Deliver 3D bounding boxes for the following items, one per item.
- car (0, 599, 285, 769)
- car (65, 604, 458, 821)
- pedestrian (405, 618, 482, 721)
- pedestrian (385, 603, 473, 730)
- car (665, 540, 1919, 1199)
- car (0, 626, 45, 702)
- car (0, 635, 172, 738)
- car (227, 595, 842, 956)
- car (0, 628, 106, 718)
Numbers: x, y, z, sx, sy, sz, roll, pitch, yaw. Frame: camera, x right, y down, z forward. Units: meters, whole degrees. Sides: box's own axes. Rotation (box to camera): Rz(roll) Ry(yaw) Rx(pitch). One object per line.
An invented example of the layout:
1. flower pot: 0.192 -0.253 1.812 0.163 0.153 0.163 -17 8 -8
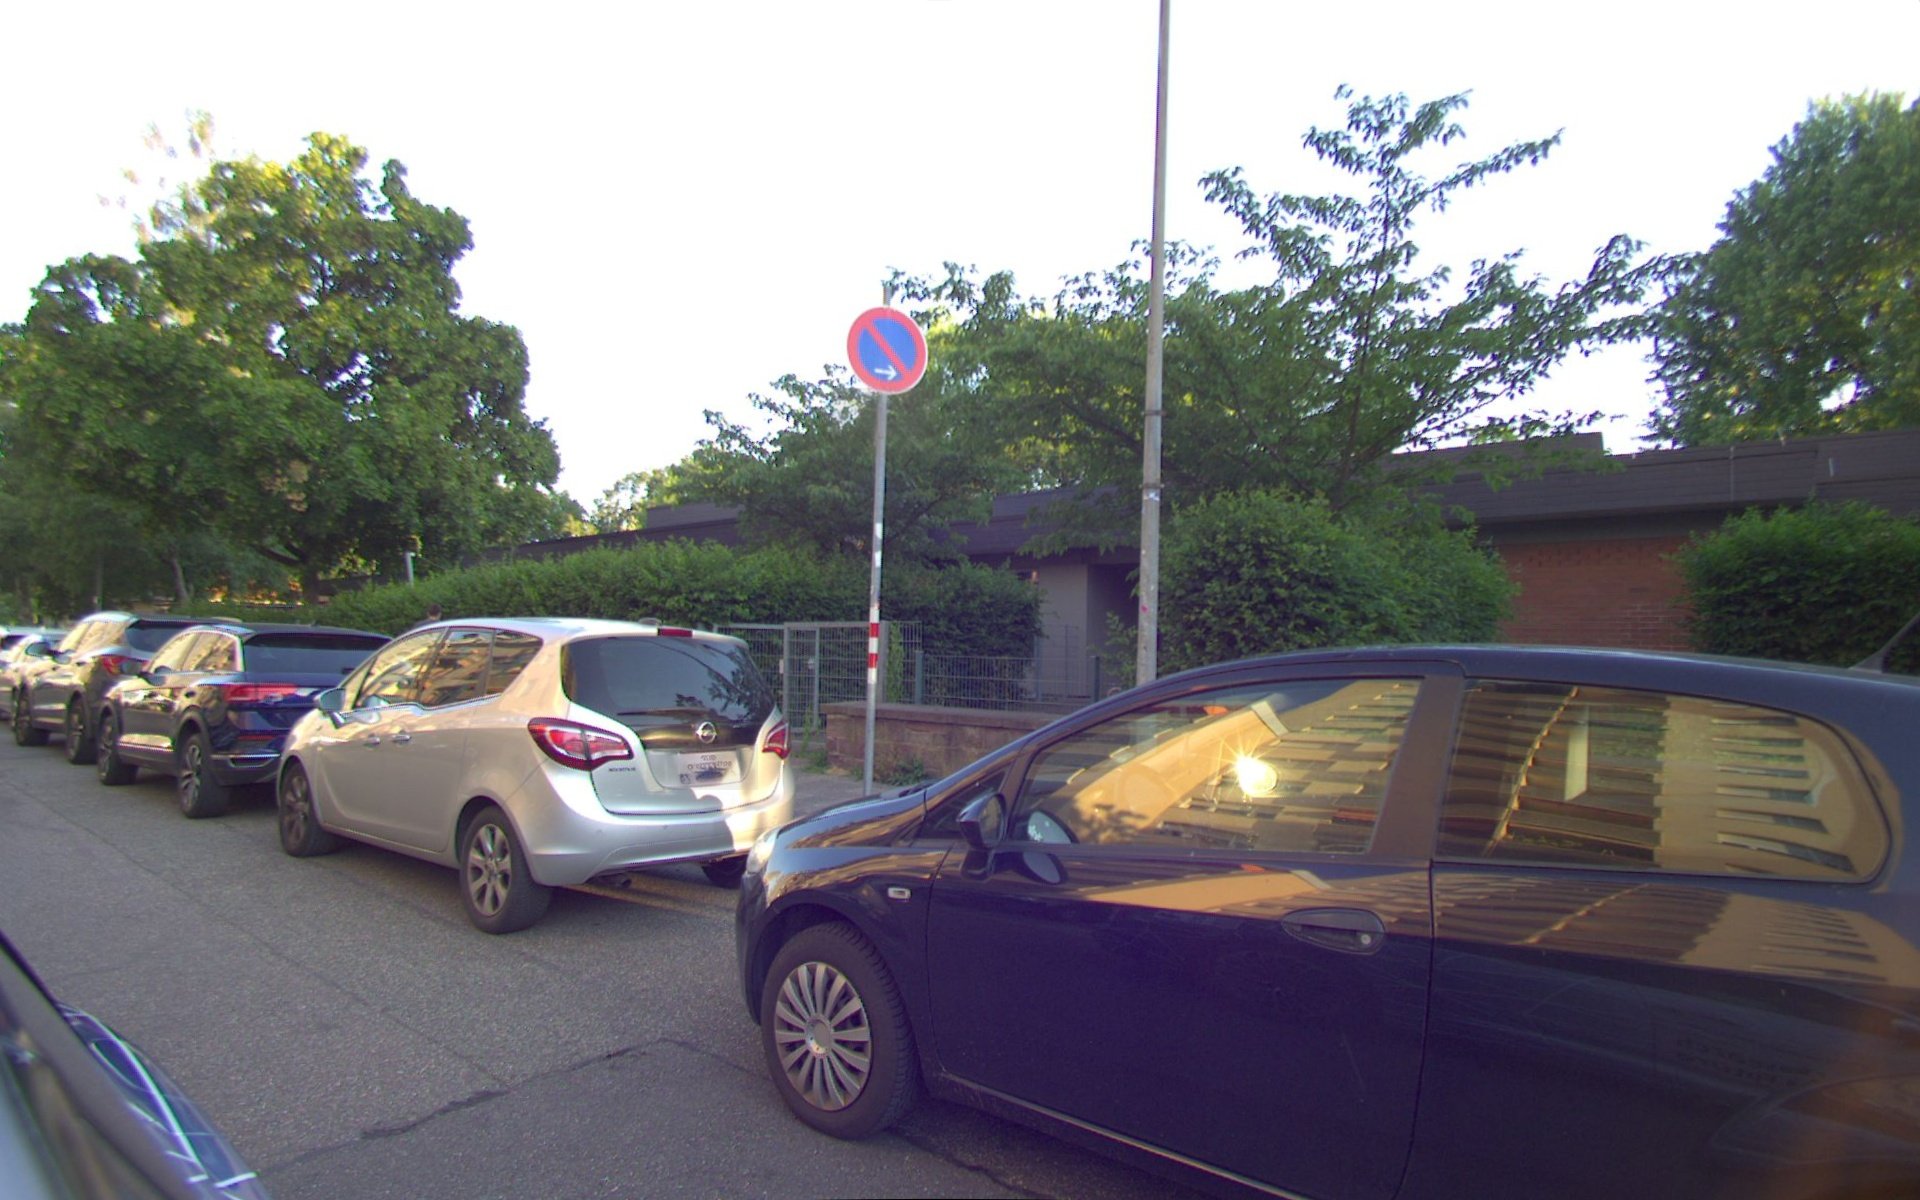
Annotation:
1. car: -10.139 0.962 12.415 4.316 1.743 1.717 -2 -5 37
2. car: -6.555 0.920 9.354 4.160 1.579 1.717 -2 -5 37
3. pedestrian: -8.031 1.057 15.726 0.900 1.519 0.741 -2 -1 38
4. pedestrian: -7.682 0.933 14.650 0.749 1.745 0.890 -2 -1 38
5. car: 1.070 0.781 2.775 3.691 1.579 1.717 -2 -5 37
6. car: -22.207 1.414 22.865 3.978 1.644 1.715 -2 -5 41
7. car: -14.398 1.322 16.192 4.280 1.438 1.717 -2 -5 37
8. car: -2.850 0.870 6.411 4.123 1.579 1.717 -2 -5 37
9. car: -18.093 1.355 19.339 4.273 1.555 1.742 -2 -5 37
